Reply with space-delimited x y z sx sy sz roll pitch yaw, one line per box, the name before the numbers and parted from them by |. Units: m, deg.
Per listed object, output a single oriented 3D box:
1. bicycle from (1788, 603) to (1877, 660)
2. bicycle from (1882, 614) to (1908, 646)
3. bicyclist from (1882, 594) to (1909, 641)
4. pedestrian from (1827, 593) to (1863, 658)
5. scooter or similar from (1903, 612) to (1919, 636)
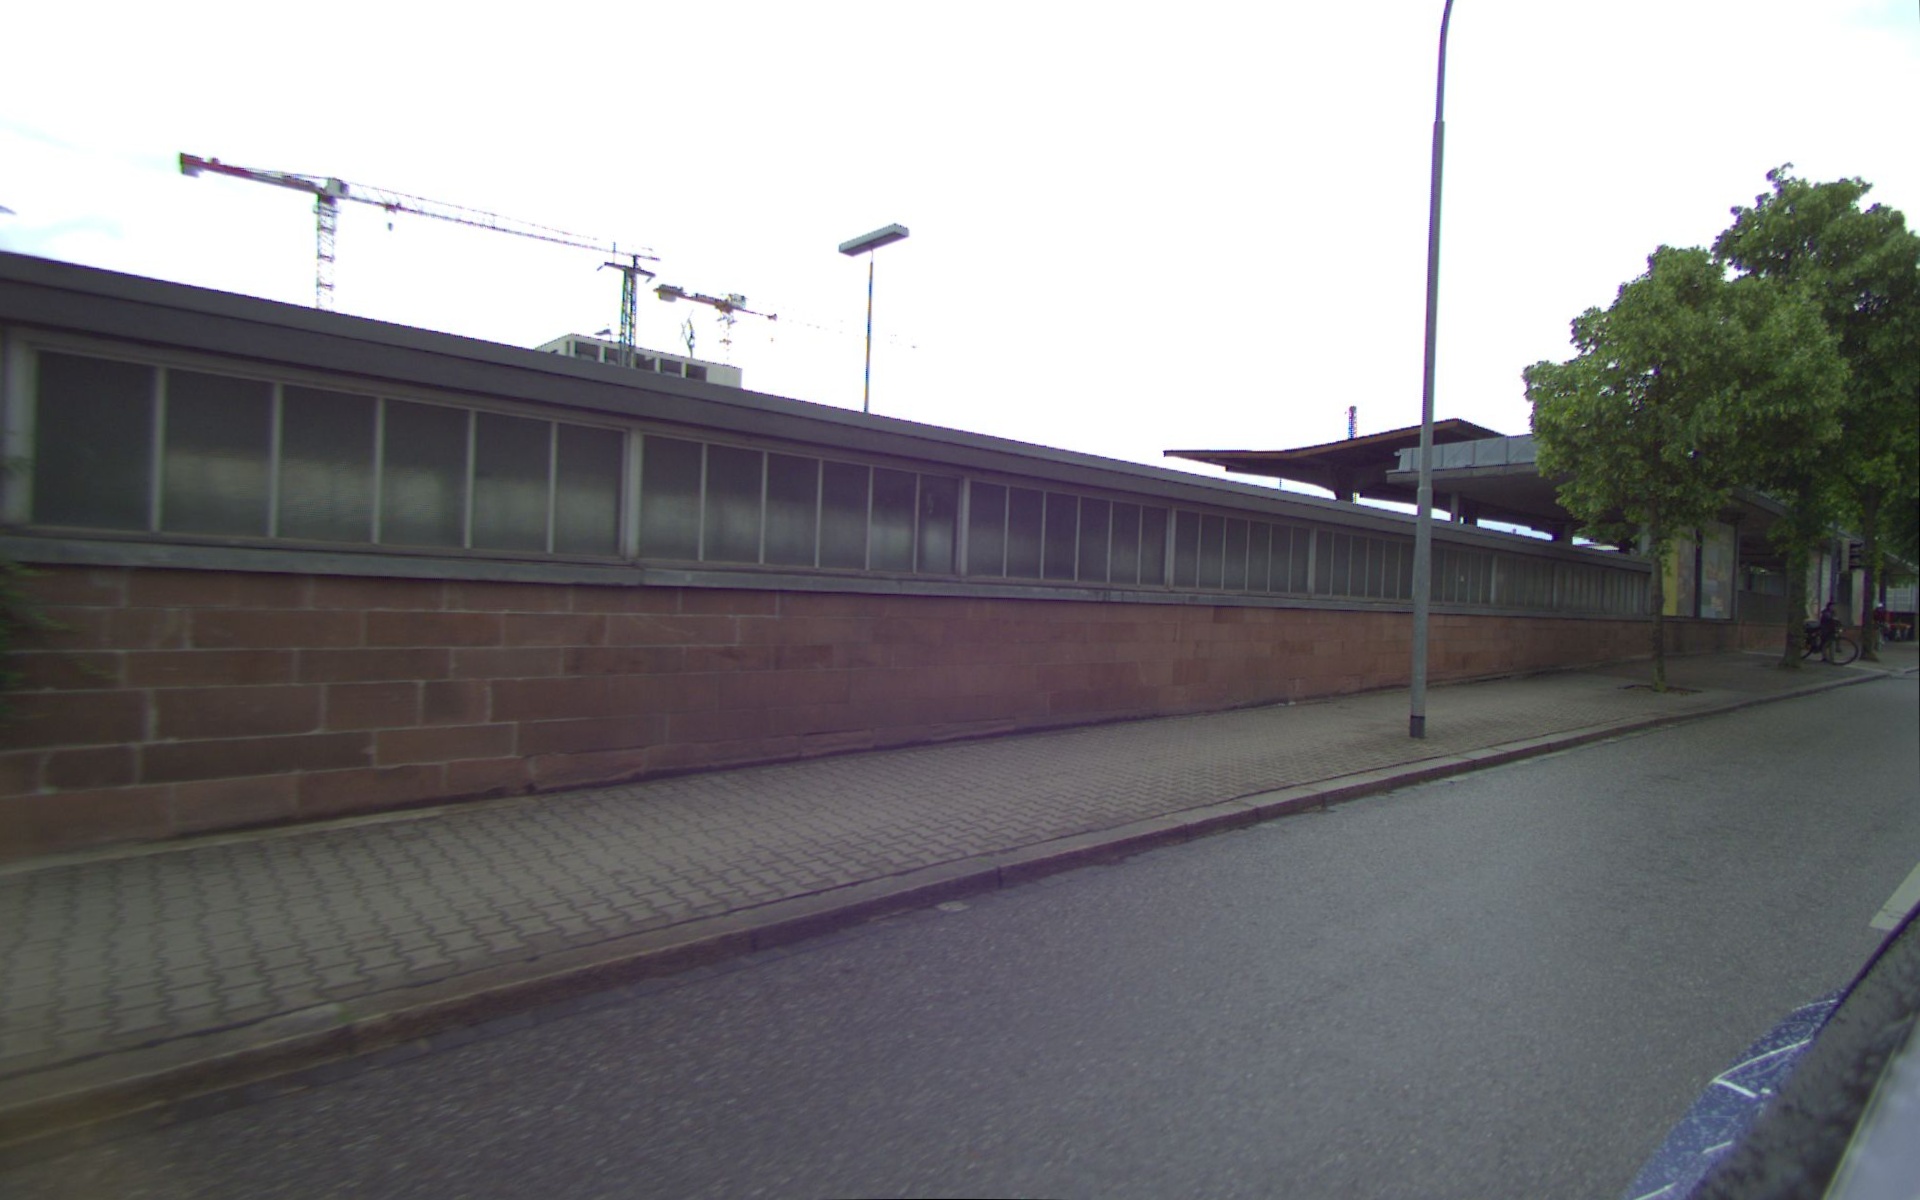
bicycle | 21.923 0.772 25.474 0.476 1.264 1.729 3 3 -9
bicycle | 32.494 1.036 35.157 1.649 1.028 0.447 1 4 -42
bicyclist | 32.546 0.611 35.191 0.683 1.556 0.534 1 3 -43
pedestrian | 22.324 0.645 25.533 0.385 1.587 0.459 3 2 -5
scooter or similar | 46.584 1.163 49.503 1.519 1.167 0.493 1 2 -43
